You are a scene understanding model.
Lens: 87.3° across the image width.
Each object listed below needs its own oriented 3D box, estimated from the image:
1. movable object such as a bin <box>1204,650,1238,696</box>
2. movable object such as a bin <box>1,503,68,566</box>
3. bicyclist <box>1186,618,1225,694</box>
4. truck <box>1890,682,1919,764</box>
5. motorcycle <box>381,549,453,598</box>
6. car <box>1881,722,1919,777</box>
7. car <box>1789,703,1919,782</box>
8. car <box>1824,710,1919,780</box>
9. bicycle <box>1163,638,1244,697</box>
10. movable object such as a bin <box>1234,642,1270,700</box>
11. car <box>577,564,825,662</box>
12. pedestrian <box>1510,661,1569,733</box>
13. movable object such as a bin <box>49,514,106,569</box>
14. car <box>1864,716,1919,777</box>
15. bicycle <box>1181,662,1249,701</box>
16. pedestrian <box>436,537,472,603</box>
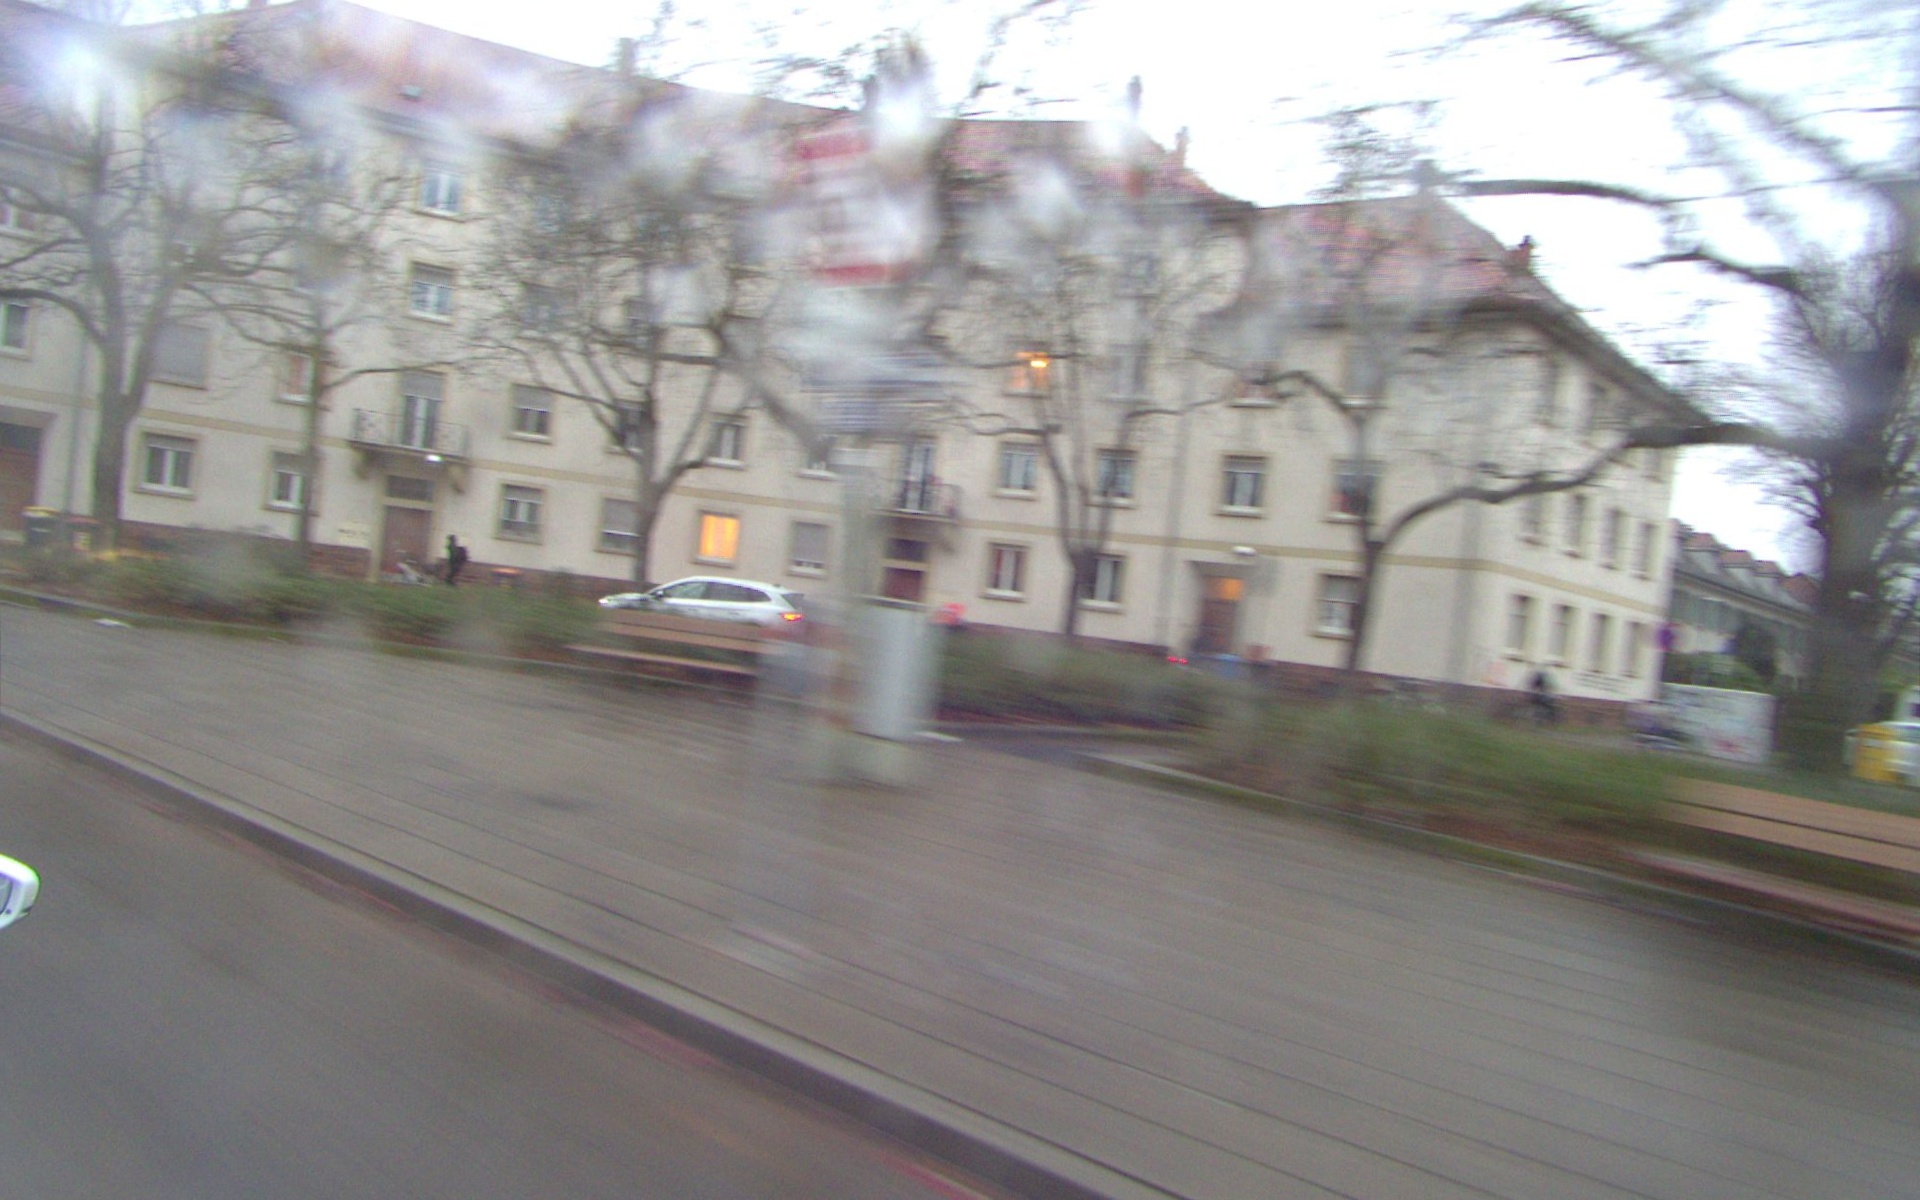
[{"bbox_3d":[6.104,1.707,23.526,0.639,0.993,0.528,7,0,19],"label":"movable object such as a bin"},{"bbox_3d":[-21.300,-1.493,23.157,0.842,1.265,0.520,9,-2,-17],"label":"movable object such as a bin"},{"bbox_3d":[6.409,1.458,26.264,0.668,1.910,0.467,7,1,31],"label":"bicyclist"},{"bbox_3d":[40.481,5.172,38.522,2.613,3.131,6.658,6,0,-40],"label":"truck"},{"bbox_3d":[-14.937,-0.730,27.682,1.575,1.120,0.568,7,3,-5],"label":"motorcycle"},{"bbox_3d":[29.280,4.567,28.712,1.831,1.494,3.968,7,0,-31],"label":"car"},{"bbox_3d":[23.052,3.581,24.482,1.831,1.504,3.968,7,0,-31],"label":"car"},{"bbox_3d":[25.207,3.926,25.945,1.831,1.494,3.968,7,0,-31],"label":"car"},{"bbox_3d":[6.344,1.749,26.292,1.882,1.307,0.467,6,1,31],"label":"bicycle"},{"bbox_3d":[6.757,1.631,23.268,0.639,1.243,0.528,7,1,19],"label":"movable object such as a bin"},{"bbox_3d":[-5.438,0.231,21.425,4.662,1.531,1.898,6,3,7],"label":"car"},{"bbox_3d":[14.499,2.436,25.167,1.113,1.663,0.752,6,1,-38],"label":"pedestrian"},{"bbox_3d":[-20.532,-1.356,23.414,0.691,1.132,0.537,9,-2,-17],"label":"movable object such as a bin"},{"bbox_3d":[27.243,4.204,27.014,1.831,1.494,3.968,7,0,-31],"label":"car"},{"bbox_3d":[6.393,2.038,25.260,1.562,0.775,0.339,6,0,28],"label":"bicycle"},{"bbox_3d":[-13.653,-0.811,27.148,0.706,1.681,0.683,6,1,-27],"label":"pedestrian"}]
